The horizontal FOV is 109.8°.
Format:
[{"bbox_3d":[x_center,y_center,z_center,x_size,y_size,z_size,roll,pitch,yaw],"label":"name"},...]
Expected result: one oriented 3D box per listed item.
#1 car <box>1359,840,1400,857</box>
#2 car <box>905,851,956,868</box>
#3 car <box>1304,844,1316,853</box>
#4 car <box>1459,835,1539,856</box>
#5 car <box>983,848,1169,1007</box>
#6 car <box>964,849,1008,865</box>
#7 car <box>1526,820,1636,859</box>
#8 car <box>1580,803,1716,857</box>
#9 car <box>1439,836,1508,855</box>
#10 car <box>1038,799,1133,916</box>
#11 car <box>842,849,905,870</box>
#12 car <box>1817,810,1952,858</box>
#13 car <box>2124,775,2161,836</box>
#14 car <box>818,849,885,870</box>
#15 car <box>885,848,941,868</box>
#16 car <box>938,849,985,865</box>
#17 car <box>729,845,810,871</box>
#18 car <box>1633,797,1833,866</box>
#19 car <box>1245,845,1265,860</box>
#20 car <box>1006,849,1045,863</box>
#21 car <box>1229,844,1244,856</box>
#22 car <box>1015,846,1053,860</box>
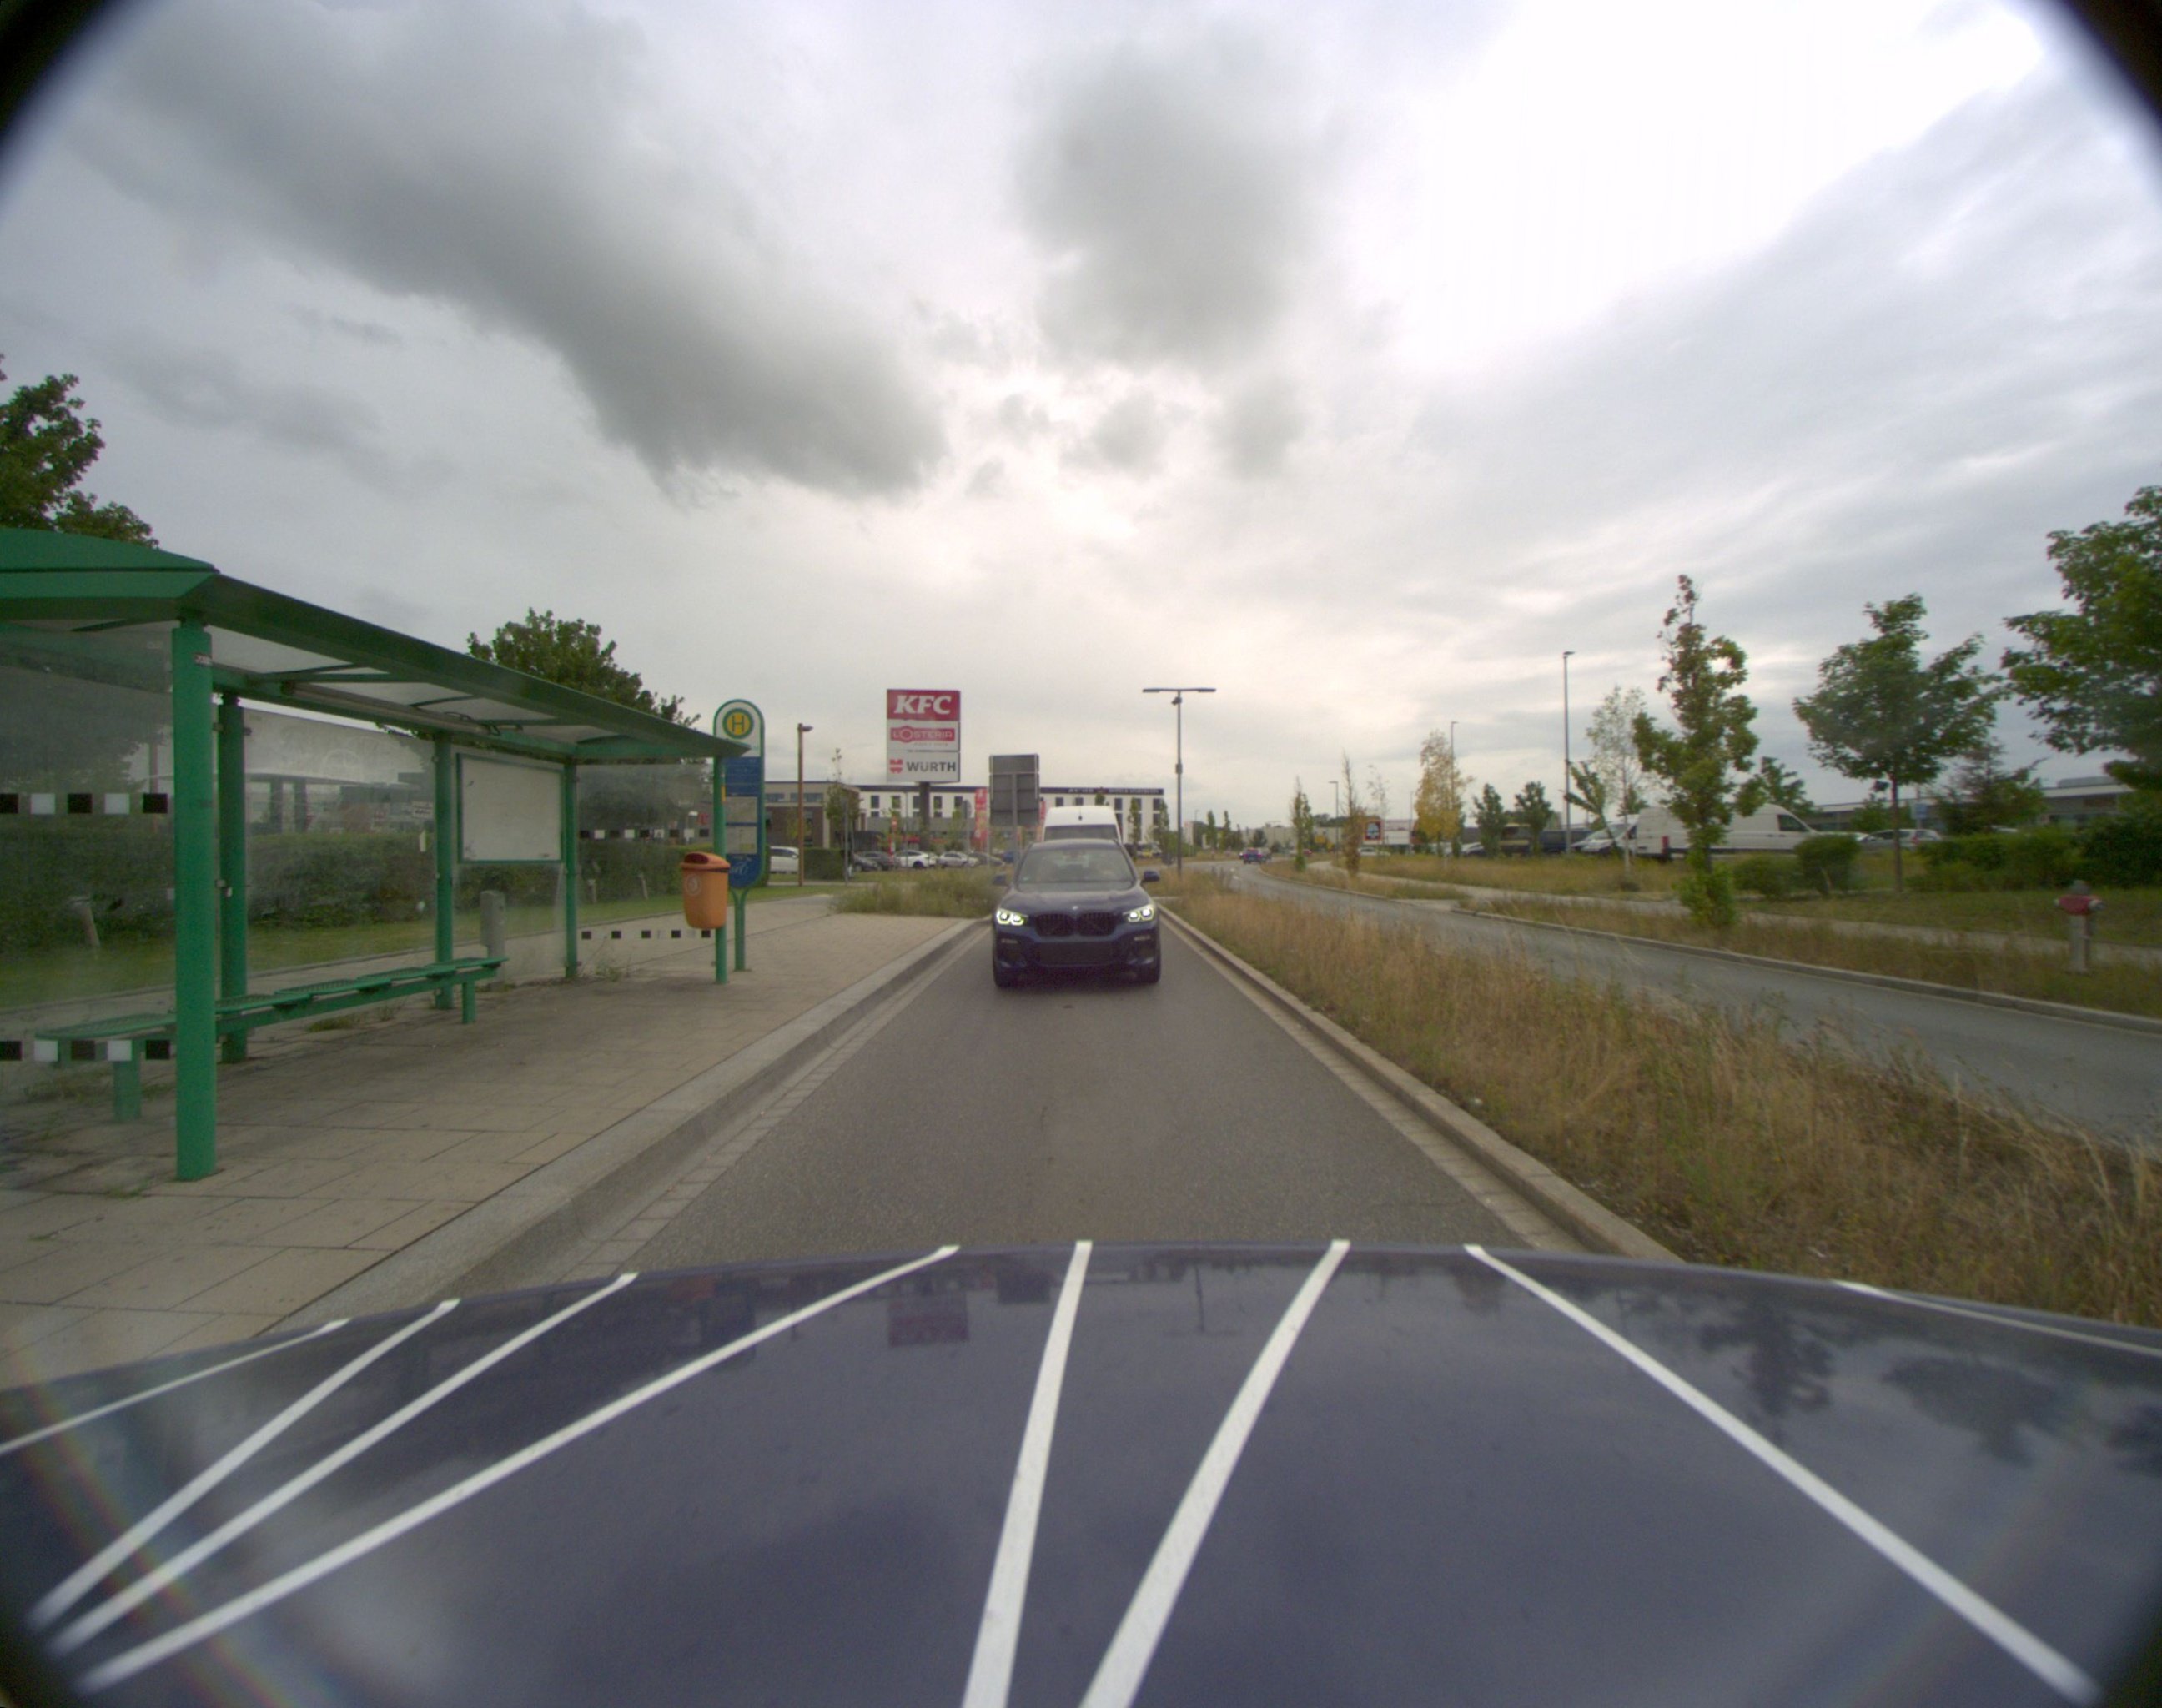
[{"bbox_3d":[32.212,-0.557,82.005,3.991,1.660,2.003,-2,-1,23],"label":"car"},{"bbox_3d":[-13.309,0.446,67.310,3.994,1.477,1.848,0,1,8],"label":"car"},{"bbox_3d":[40.222,-0.932,133.502,1.731,1.484,4.004,0,0,13],"label":"car"},{"bbox_3d":[32.708,-0.659,59.597,5.049,1.647,2.066,0,1,10],"label":"car"},{"bbox_3d":[-0.057,0.734,9.689,1.867,1.598,3.999,0,0,0],"label":"car"},{"bbox_3d":[-9.524,0.296,76.413,3.993,1.477,1.849,0,1,13],"label":"car"},{"bbox_3d":[29.305,-0.833,44.686,5.050,2.211,2.066,0,1,8],"label":"car"},{"bbox_3d":[27.488,-1.152,36.945,5.053,2.359,2.064,-2,1,1],"label":"car"},{"bbox_3d":[34.567,-0.724,67.030,5.049,1.647,2.066,0,1,10],"label":"car"},{"bbox_3d":[0.080,0.055,19.418,2.026,2.513,6.104,0,0,0],"label":"car"},{"bbox_3d":[-15.044,0.370,55.228,3.994,1.477,1.848,0,1,9],"label":"car"},{"bbox_3d":[43.508,-1.064,41.351,2.063,2.359,5.056,-2,1,1],"label":"car"},{"bbox_3d":[43.124,-1.898,28.099,2.064,2.359,5.055,-2,1,-3],"label":"car"},{"bbox_3d":[-15.833,0.372,52.557,3.994,1.477,1.848,0,1,9],"label":"car"},{"bbox_3d":[-13.666,0.320,61.957,3.994,1.513,1.848,0,1,9],"label":"car"},{"bbox_3d":[-11.298,0.266,71.877,3.993,1.477,1.849,0,1,13],"label":"car"},{"bbox_3d":[-18.434,0.238,45.113,3.997,1.519,1.847,0,1,1],"label":"car"},{"bbox_3d":[27.302,-0.922,32.014,6.413,2.609,2.065,-2,1,4],"label":"car"},{"bbox_3d":[17.685,-0.161,77.143,1.731,1.504,4.005,0,0,16],"label":"car"},{"bbox_3d":[-6.237,0.220,85.567,3.992,1.477,1.849,-2,1,17],"label":"car"},{"bbox_3d":[22.319,-0.607,109.301,1.997,1.565,4.002,-2,1,11],"label":"car"},{"bbox_3d":[-5.427,-0.142,87.968,3.992,1.477,1.849,-2,1,17],"label":"car"}]
